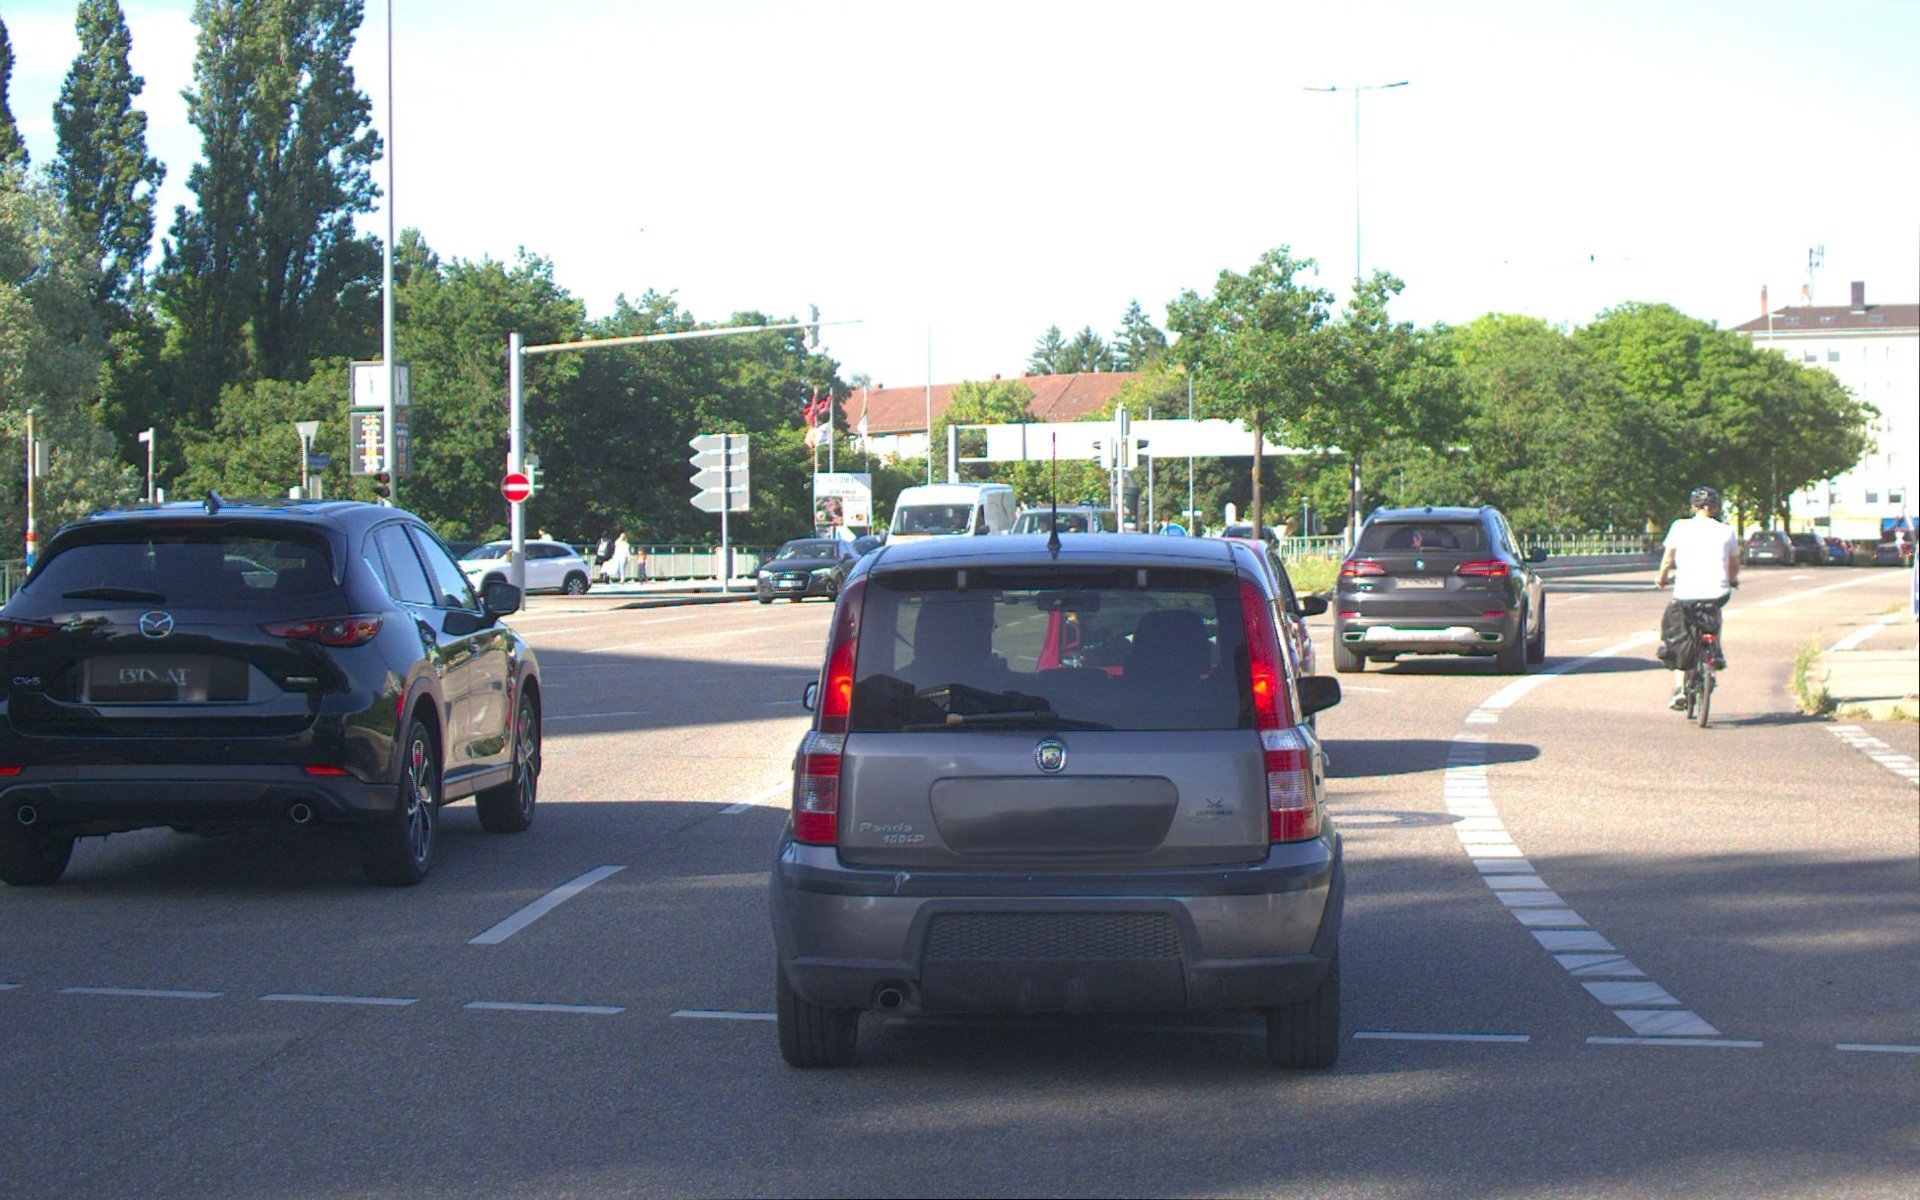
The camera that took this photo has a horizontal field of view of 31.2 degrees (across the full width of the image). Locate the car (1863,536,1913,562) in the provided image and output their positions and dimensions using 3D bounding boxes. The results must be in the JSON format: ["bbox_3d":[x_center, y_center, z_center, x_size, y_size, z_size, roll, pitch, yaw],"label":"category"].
[{"bbox_3d":[54.681,-3.008,202.513,1.948,1.523,4.091,0,1,28],"label":"car"}]

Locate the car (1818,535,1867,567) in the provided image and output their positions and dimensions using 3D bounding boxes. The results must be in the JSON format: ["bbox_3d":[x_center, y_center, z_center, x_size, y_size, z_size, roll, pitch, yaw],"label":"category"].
[{"bbox_3d":[43.257,-2.407,168.385,1.947,1.523,4.093,0,1,20],"label":"car"}]

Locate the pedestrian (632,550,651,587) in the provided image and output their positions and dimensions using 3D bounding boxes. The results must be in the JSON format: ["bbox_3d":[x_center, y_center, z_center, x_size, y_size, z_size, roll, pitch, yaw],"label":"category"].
[{"bbox_3d":[-9.723,-0.962,104.928,0.423,1.132,0.397,1,-1,16],"label":"pedestrian"}]

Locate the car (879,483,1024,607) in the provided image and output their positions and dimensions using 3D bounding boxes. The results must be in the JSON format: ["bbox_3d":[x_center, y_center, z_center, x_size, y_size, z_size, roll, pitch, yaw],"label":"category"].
[{"bbox_3d":[-0.125,-1.199,74.221,1.937,2.567,6.086,0,1,11],"label":"car"}]

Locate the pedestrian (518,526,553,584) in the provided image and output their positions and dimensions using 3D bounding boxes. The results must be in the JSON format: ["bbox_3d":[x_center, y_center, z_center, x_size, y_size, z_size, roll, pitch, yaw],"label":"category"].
[{"bbox_3d":[-12.299,-1.295,99.604,0.790,1.658,0.629,1,-1,23],"label":"pedestrian"}]

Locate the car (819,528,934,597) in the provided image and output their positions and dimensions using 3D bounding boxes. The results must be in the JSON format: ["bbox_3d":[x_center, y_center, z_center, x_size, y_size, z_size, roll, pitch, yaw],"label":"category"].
[{"bbox_3d":[-1.967,-0.914,82.121,1.811,1.536,4.615,-2,1,10],"label":"car"}]

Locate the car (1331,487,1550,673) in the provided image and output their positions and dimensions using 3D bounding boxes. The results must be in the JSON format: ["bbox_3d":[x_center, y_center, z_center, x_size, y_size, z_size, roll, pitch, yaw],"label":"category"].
[{"bbox_3d":[5.228,-0.247,36.991,1.946,1.833,4.150,2,1,13],"label":"car"}]

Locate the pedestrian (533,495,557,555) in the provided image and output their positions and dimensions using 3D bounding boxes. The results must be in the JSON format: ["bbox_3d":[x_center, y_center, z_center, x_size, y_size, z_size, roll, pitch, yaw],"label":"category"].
[{"bbox_3d":[-12.042,-2.173,99.719,0.499,1.696,0.500,1,-1,16],"label":"pedestrian"}]

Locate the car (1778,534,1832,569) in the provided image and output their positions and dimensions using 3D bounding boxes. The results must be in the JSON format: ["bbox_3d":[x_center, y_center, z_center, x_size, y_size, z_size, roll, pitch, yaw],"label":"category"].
[{"bbox_3d":[37.200,-2.158,151.283,1.947,1.523,4.093,0,1,19],"label":"car"}]

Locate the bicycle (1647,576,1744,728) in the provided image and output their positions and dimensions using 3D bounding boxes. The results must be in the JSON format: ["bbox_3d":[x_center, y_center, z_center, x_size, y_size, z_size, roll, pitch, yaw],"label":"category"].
[{"bbox_3d":[5.664,0.381,26.480,0.691,1.098,1.825,1,1,12],"label":"bicycle"}]

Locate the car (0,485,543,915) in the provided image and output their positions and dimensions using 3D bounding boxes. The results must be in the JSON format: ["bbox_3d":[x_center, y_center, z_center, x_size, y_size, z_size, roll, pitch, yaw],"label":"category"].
[{"bbox_3d":[-3.195,0.364,15.754,1.874,1.703,4.196,0,1,3],"label":"car"}]

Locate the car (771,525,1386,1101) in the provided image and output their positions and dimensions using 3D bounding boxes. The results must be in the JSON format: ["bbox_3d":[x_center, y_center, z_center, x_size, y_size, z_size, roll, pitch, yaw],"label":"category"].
[{"bbox_3d":[0.411,0.526,11.040,1.617,1.510,3.819,1,1,3],"label":"car"}]

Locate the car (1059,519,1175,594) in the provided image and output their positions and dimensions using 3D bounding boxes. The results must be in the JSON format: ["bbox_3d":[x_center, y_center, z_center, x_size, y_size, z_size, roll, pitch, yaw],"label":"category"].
[{"bbox_3d":[3.548,-0.988,77.070,1.937,1.617,4.504,0,1,11],"label":"car"}]

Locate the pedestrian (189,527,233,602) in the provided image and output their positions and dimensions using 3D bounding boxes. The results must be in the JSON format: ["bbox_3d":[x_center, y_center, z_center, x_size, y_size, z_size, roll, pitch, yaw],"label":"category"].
[{"bbox_3d":[-15.528,-0.736,71.275,0.709,1.542,0.729,-1,0,-25],"label":"pedestrian"}]

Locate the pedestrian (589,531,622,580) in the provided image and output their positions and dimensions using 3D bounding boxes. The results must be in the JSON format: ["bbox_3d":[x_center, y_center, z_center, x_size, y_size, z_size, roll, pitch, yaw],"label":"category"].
[{"bbox_3d":[-11.041,-1.370,107.046,0.671,1.497,0.778,1,-1,31],"label":"pedestrian"}]

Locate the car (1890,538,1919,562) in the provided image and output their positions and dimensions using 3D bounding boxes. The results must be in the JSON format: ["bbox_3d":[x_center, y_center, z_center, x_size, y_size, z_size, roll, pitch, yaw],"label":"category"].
[{"bbox_3d":[60.285,-3.163,216.819,1.949,1.523,4.090,0,1,33],"label":"car"}]

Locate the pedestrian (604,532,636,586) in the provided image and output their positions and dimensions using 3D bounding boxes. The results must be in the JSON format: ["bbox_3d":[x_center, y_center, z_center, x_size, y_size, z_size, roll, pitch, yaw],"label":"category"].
[{"bbox_3d":[-10.379,-1.246,104.972,0.721,1.635,0.672,1,-1,16],"label":"pedestrian"}]

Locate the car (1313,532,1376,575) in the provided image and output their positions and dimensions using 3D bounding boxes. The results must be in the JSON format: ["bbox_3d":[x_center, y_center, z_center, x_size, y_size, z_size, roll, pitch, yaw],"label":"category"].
[{"bbox_3d":[14.715,-1.793,131.384,1.938,1.617,4.503,0,1,13],"label":"car"}]

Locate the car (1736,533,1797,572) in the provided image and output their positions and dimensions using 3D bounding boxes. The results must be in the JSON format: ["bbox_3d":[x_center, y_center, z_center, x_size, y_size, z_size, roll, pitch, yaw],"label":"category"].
[{"bbox_3d":[32.136,-1.900,136.946,1.947,1.523,4.094,0,1,19],"label":"car"}]

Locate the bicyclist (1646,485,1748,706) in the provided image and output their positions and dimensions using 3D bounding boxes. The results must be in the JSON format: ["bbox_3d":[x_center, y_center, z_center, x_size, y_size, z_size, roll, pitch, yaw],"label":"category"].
[{"bbox_3d":[5.673,-0.043,26.468,0.724,1.654,1.112,1,1,12],"label":"bicyclist"}]

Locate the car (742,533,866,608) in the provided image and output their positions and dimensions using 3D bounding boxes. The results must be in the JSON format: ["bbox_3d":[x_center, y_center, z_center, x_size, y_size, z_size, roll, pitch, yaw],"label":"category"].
[{"bbox_3d":[-3.370,-0.662,75.058,1.937,1.502,3.999,-2,1,9],"label":"car"}]

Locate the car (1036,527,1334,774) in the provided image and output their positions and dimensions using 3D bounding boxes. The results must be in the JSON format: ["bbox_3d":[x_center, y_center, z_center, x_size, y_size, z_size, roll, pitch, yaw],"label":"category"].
[{"bbox_3d":[1.541,0.264,22.409,1.618,1.458,3.749,1,1,9],"label":"car"}]

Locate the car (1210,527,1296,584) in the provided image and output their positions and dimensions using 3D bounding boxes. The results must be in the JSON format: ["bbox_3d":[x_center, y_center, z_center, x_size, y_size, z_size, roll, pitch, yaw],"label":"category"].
[{"bbox_3d":[8.635,-1.332,101.083,1.938,1.617,4.503,0,1,13],"label":"car"}]

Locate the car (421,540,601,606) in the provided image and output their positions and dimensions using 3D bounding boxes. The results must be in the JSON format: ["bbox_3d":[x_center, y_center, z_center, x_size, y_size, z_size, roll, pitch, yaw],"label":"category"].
[{"bbox_3d":[-11.013,-0.693,84.456,1.783,1.530,4.319,2,2,40],"label":"car"}]

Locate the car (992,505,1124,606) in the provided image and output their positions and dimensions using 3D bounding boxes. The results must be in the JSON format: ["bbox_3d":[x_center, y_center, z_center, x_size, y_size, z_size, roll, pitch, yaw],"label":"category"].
[{"bbox_3d":[2.071,-0.942,71.082,1.937,2.001,4.929,0,1,11],"label":"car"}]
